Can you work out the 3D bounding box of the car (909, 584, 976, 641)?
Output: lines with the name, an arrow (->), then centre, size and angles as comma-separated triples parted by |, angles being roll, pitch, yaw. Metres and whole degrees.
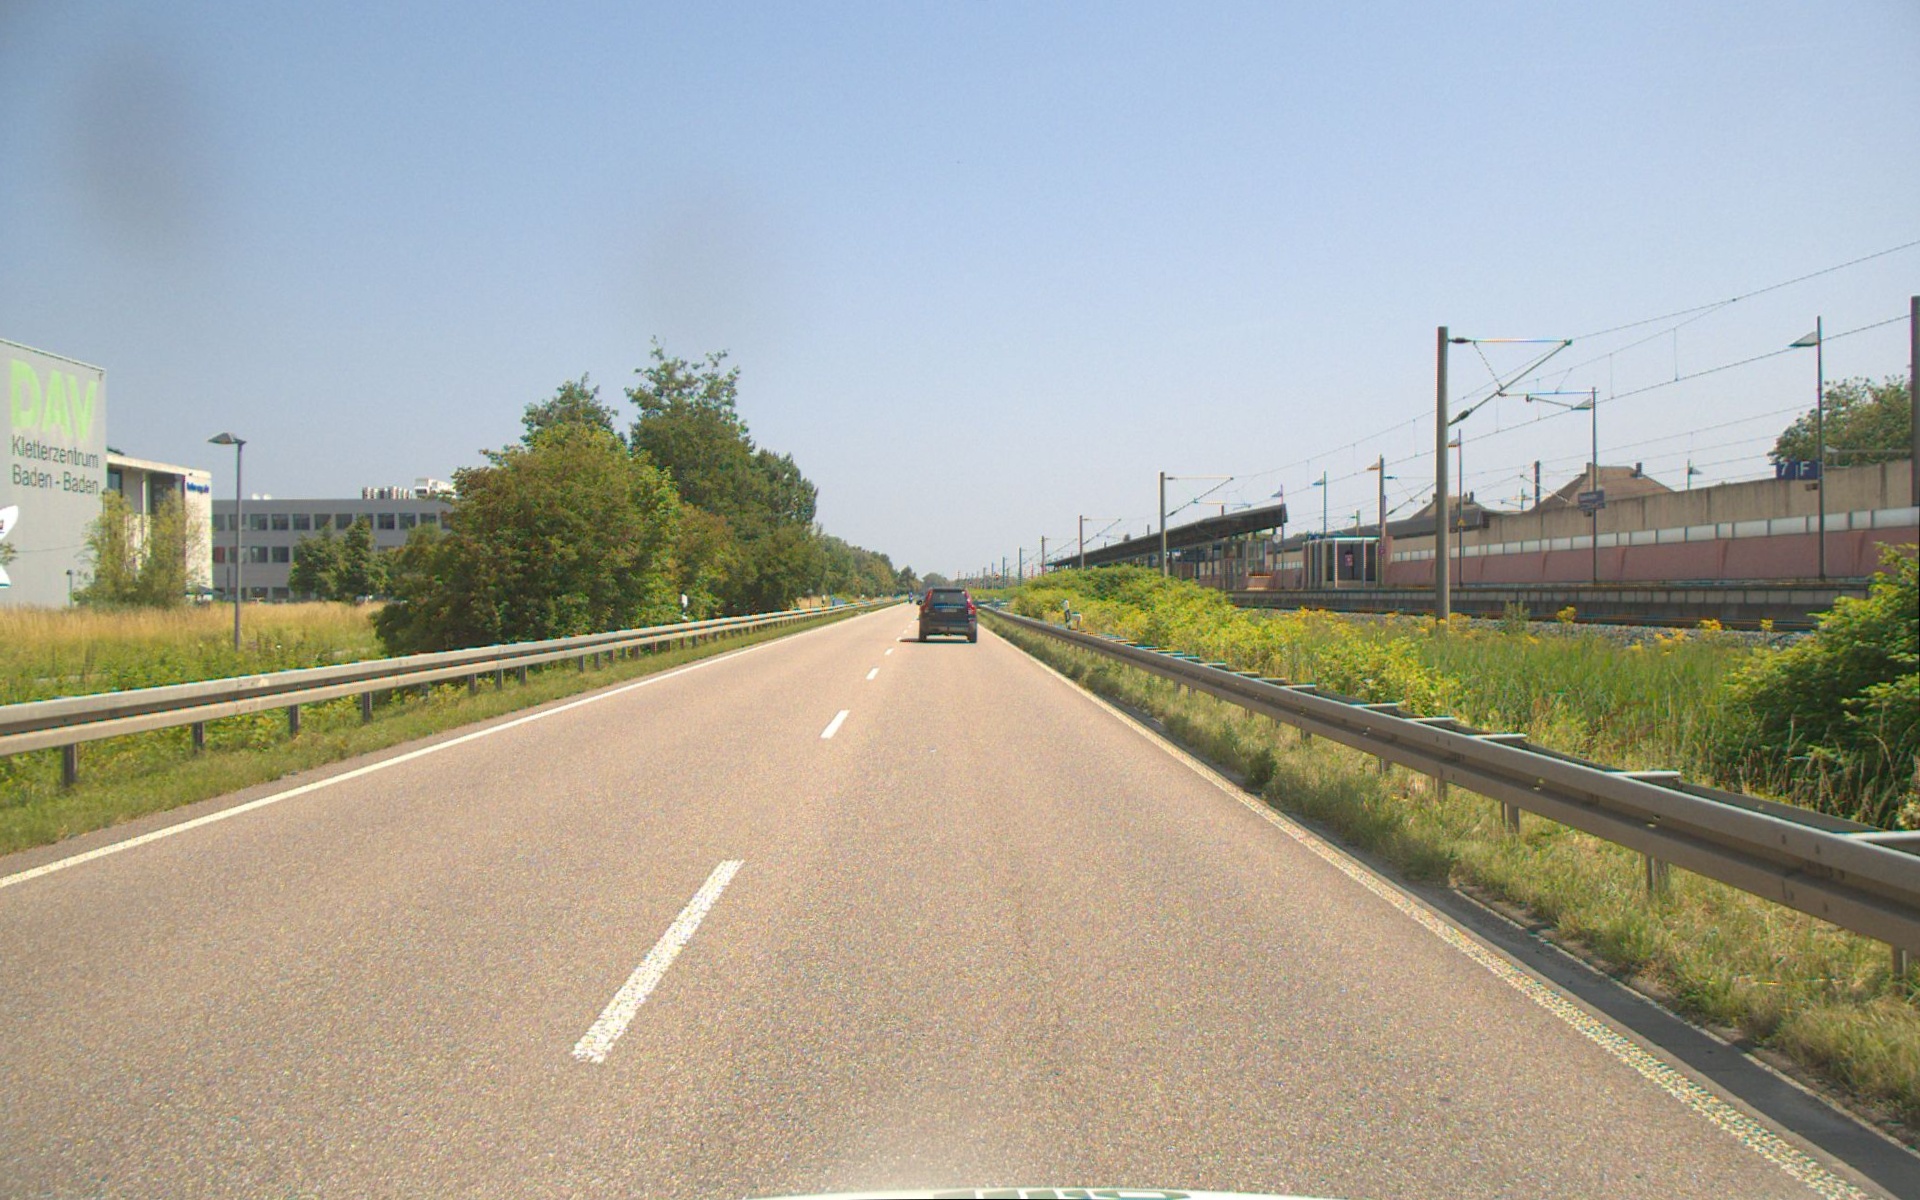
car -> -0.585, 0.382, 52.899 | 1.954, 1.730, 3.997 | 0, 0, -3
